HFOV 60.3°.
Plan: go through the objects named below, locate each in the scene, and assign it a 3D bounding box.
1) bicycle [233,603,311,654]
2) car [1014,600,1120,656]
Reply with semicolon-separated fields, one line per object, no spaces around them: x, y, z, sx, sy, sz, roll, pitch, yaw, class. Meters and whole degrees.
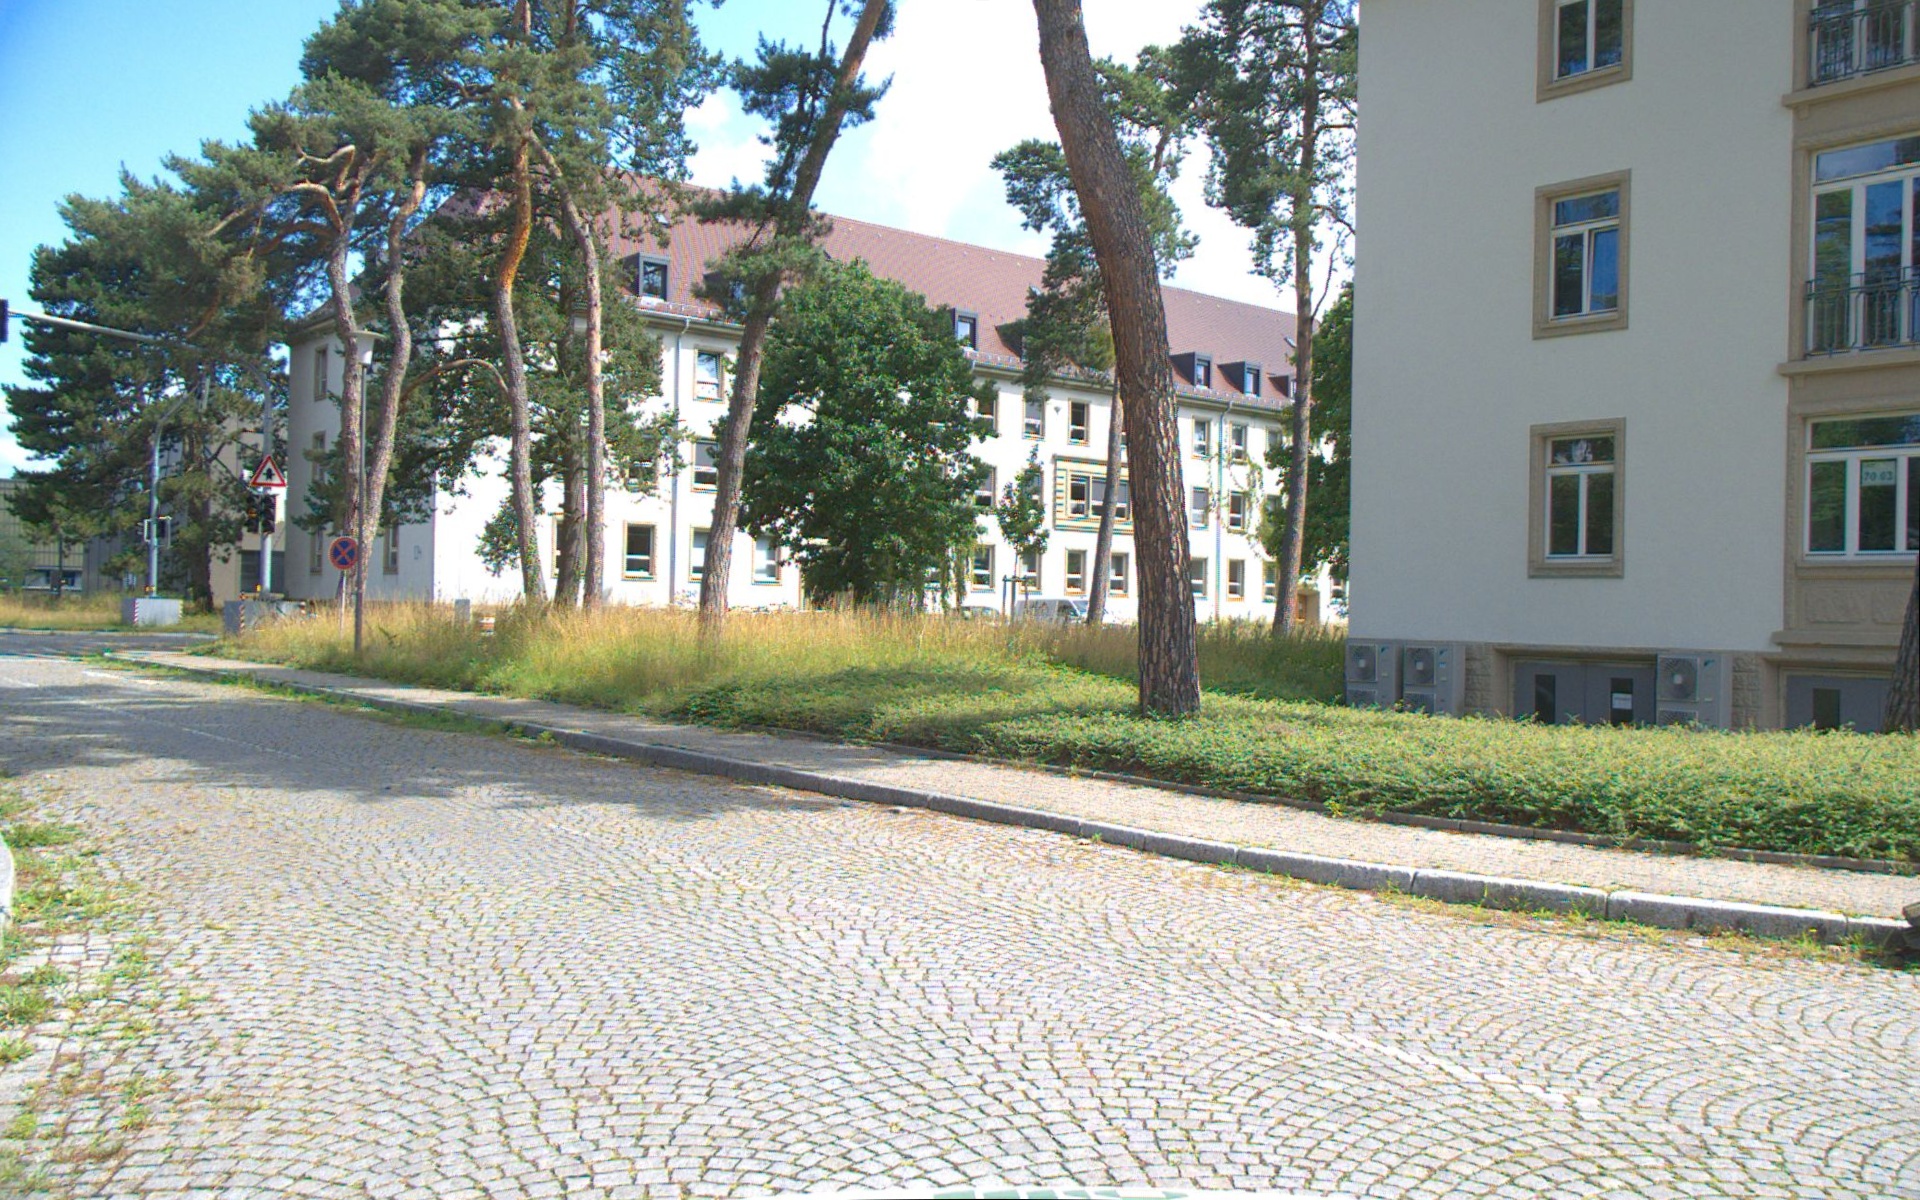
-15.582;0.656;37.481;1.564;1.120;0.486;2;-1;-29;bicycle
4.003;1.025;62.410;1.696;2.026;4.015;2;-1;-39;car
